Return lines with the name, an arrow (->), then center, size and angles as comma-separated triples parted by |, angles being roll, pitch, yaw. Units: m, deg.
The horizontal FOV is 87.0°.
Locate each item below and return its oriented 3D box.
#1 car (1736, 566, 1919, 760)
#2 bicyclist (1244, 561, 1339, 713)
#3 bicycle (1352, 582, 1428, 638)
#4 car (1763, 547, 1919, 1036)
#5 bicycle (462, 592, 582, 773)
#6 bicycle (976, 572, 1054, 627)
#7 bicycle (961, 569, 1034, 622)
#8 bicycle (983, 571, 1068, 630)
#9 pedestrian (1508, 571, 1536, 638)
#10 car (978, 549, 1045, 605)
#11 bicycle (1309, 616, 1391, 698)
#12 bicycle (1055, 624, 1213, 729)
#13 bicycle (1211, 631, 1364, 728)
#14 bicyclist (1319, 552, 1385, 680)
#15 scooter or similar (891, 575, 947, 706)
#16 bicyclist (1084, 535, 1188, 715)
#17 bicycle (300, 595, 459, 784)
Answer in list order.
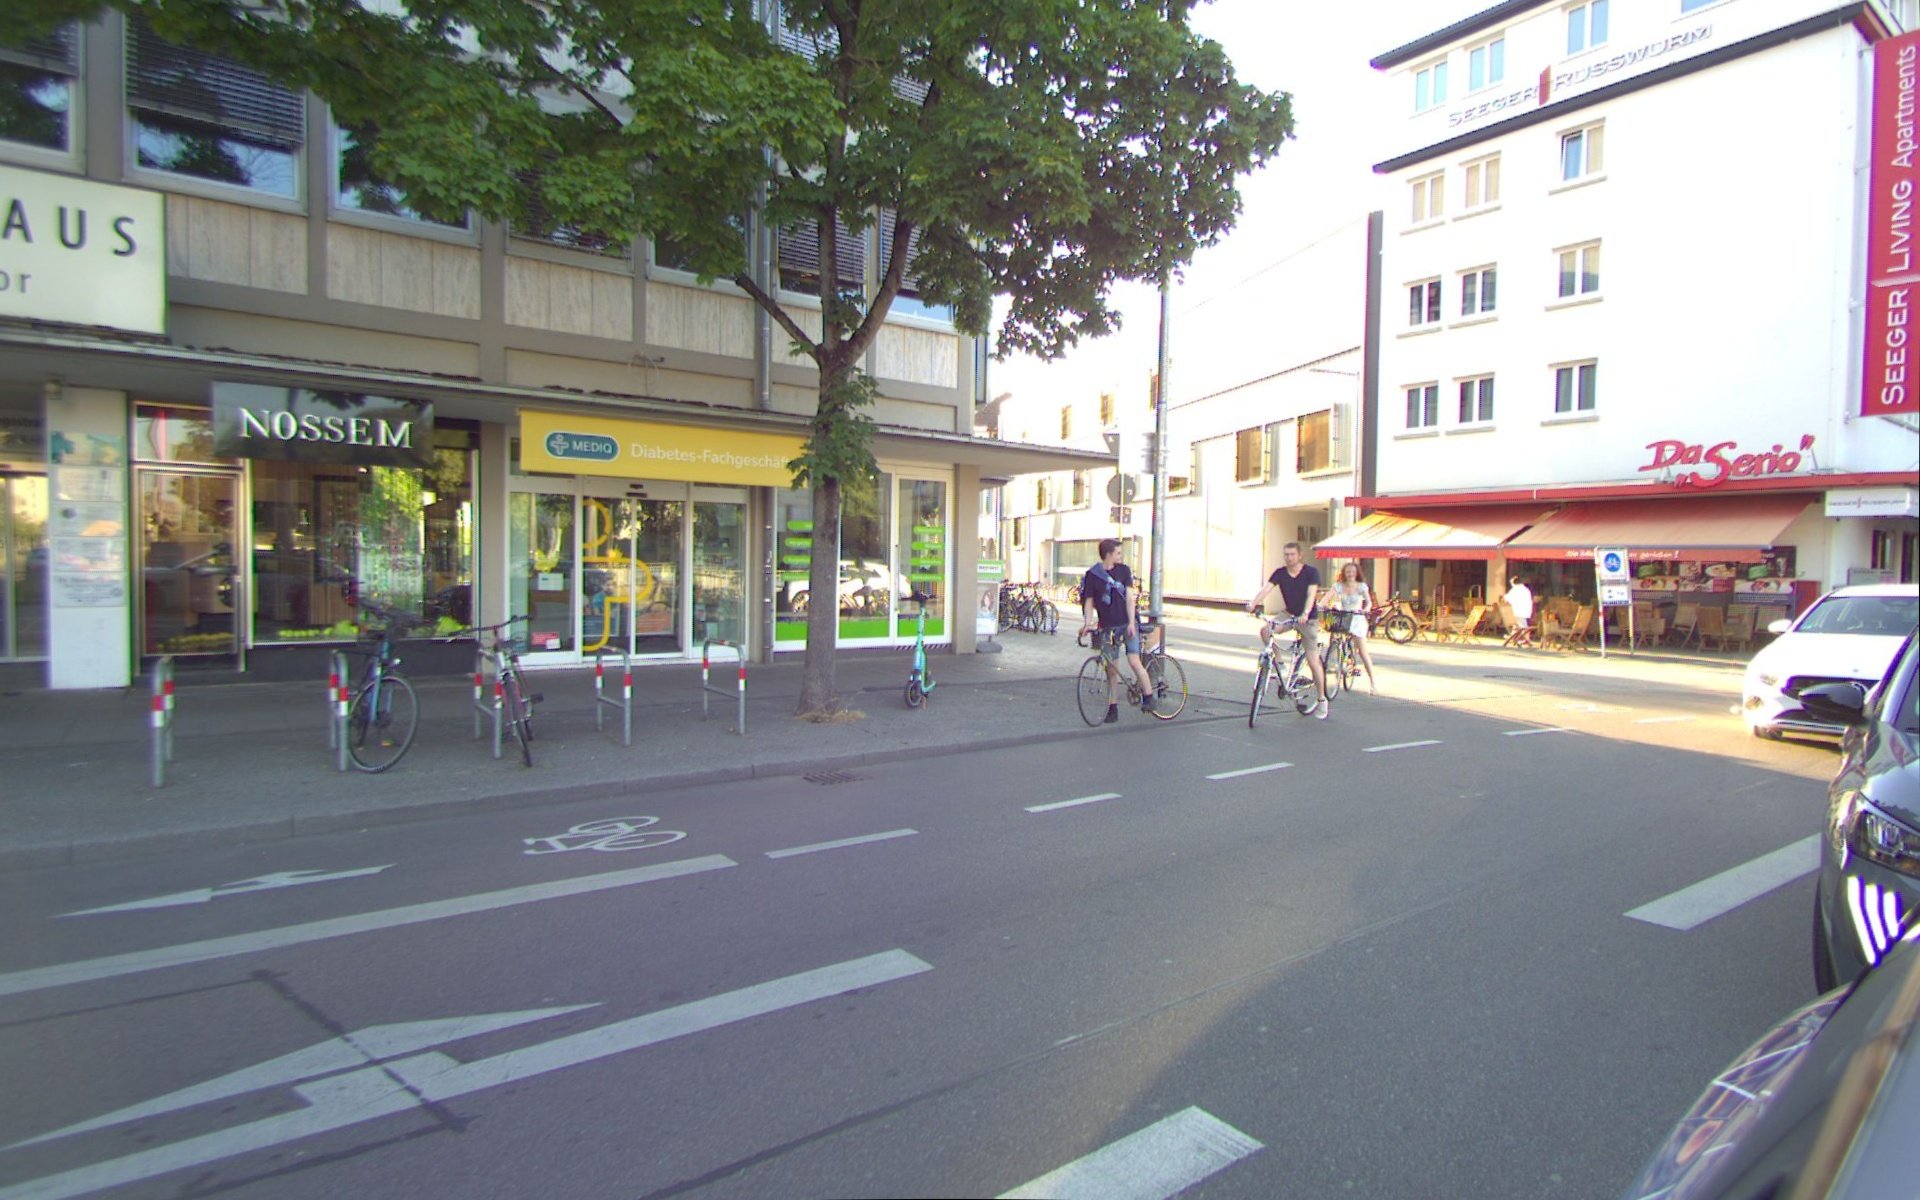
car -> 9.247, 0.453, 9.568 | 4.478, 1.466, 1.817 | -2, 3, -36
bicyclist -> 3.430, 0.353, 10.482 | 0.705, 1.505, 0.614 | 0, 2, -38
bicycle -> 10.102, 0.212, 23.826 | 0.589, 1.180, 1.636 | -3, 4, -31
car -> 5.037, 0.581, 4.353 | 4.626, 1.522, 1.913 | -1, 3, -45
bicycle -> -3.478, 0.578, 7.957 | 0.528, 1.199, 1.638 | 0, 3, -36
bicycle -> 1.289, -0.008, 23.582 | 1.682, 1.201, 0.541 | 3, 1, -19
bicycle -> 0.916, -0.104, 24.737 | 1.651, 1.201, 0.487 | 3, 1, -19
bicycle -> 1.461, 0.011, 22.515 | 1.743, 1.201, 0.556 | 3, 1, -19
pedestrian -> 12.587, 0.083, 22.673 | 0.504, 1.467, 0.502 | 2, 2, 27
car -> 1.957, -0.945, 39.673 | 1.959, 2.038, 4.007 | 1, 2, -7
bicycle -> 4.818, 0.669, 12.453 | 0.595, 0.835, 1.720 | 2, 3, 33
bicycle -> 1.808, 0.742, 10.388 | 1.660, 0.912, 0.675 | -1, 3, -40
bicycle -> 3.414, 0.783, 10.479 | 1.773, 0.835, 0.615 | -1, 3, -38
bicyclist -> 4.811, 0.176, 12.411 | 0.584, 1.505, 0.710 | 2, 2, 33
scooter or similar -> -0.471, 0.413, 11.170 | 0.504, 1.338, 1.283 | 1, 2, -6
bicyclist -> 1.798, 0.226, 10.360 | 0.796, 1.748, 0.665 | -1, 2, -40
bicycle -> -4.380, 0.594, 7.572 | 0.655, 1.154, 1.742 | -1, 4, -43
